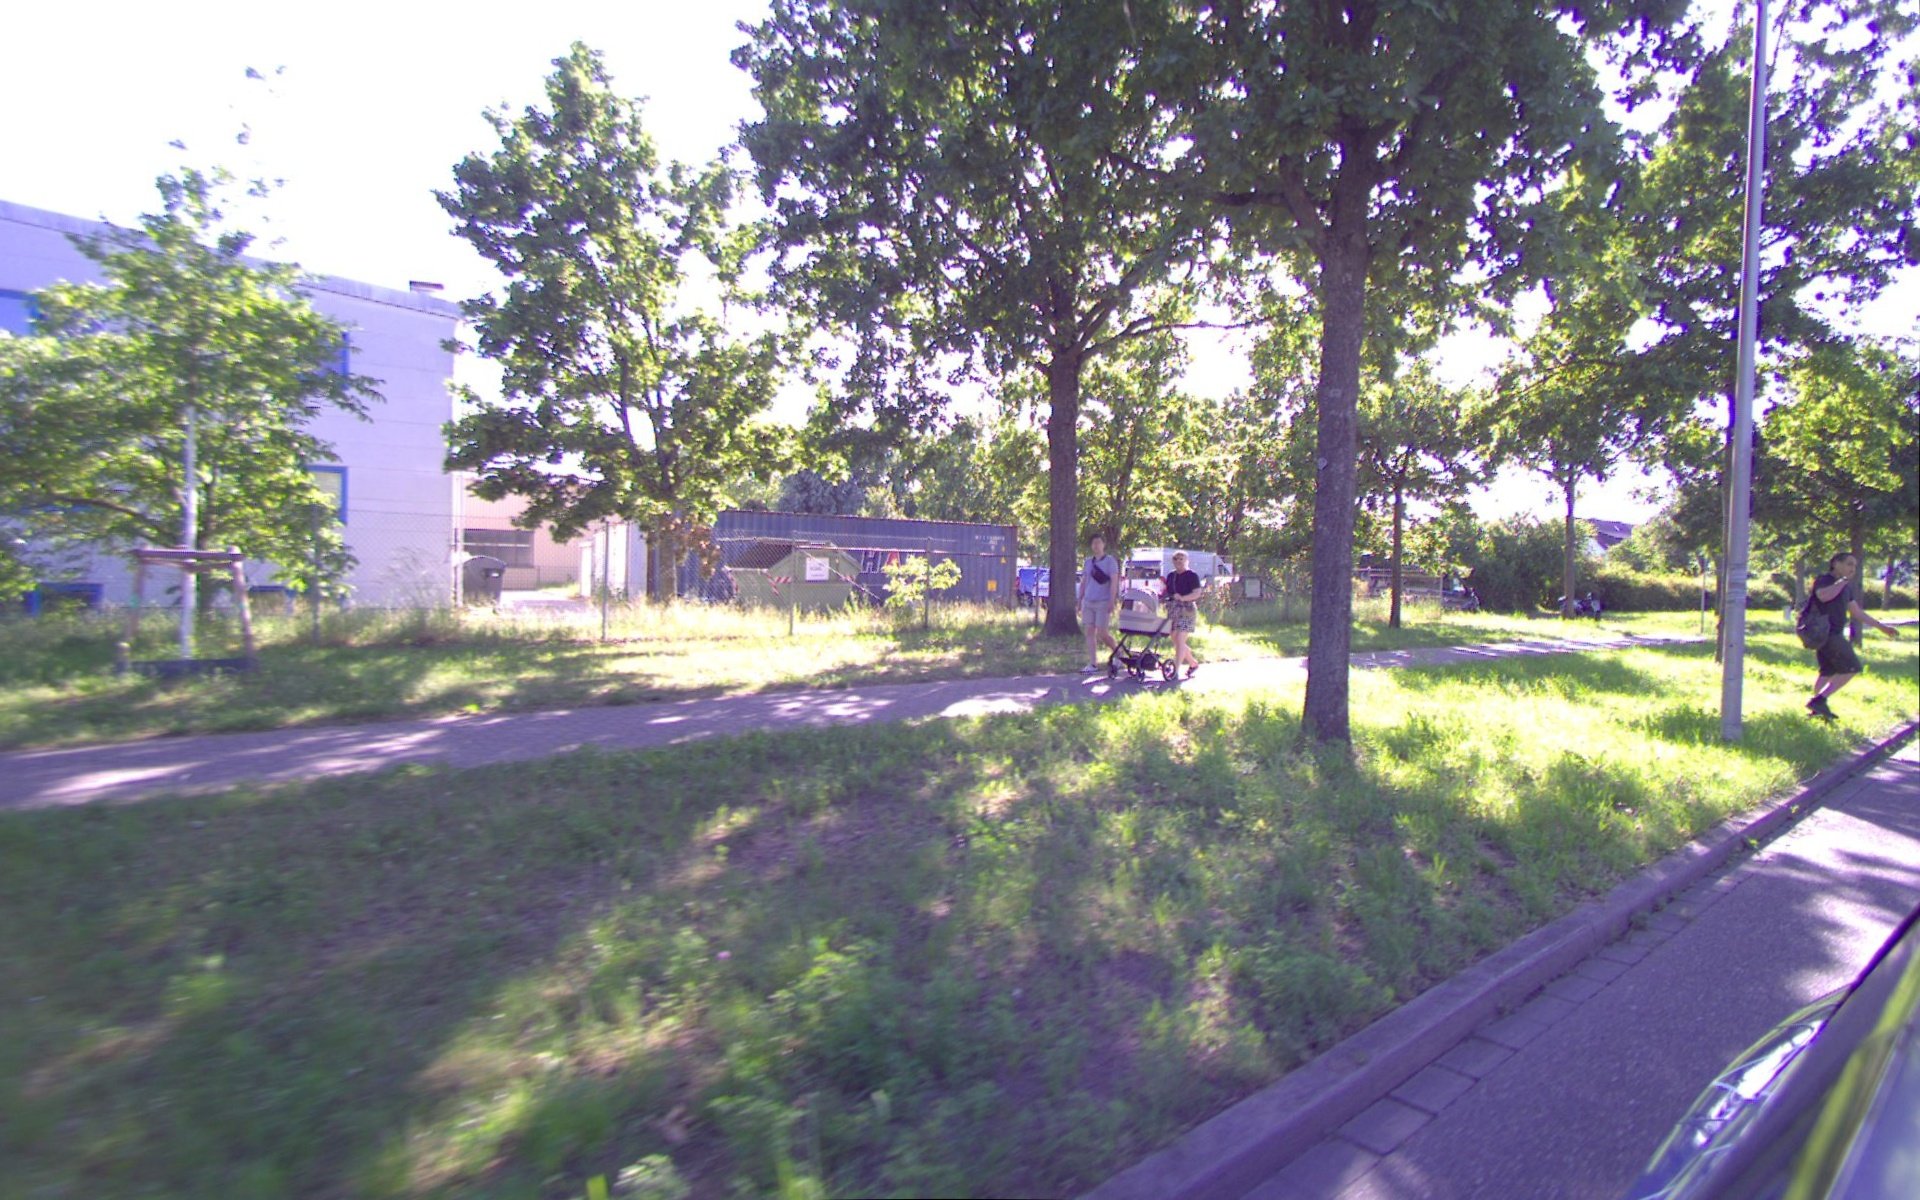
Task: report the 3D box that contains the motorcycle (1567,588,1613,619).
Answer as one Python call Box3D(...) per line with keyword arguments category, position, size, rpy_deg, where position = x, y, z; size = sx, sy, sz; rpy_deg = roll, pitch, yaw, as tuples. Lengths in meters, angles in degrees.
Box3D(category="motorcycle", position=(28.521, 0.136, 45.800), size=(2.359, 1.246, 0.666), rpy_deg=(-4, 4, -29))

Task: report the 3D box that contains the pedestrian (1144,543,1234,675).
Box3D(category="pedestrian", position=(2.949, 0.095, 13.025), size=(0.852, 1.623, 0.727), rpy_deg=(1, 2, -41))

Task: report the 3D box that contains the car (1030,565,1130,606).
Box3D(category="car", position=(5.305, -0.658, 44.742), size=(3.915, 1.660, 1.845), rpy_deg=(1, 2, -19))

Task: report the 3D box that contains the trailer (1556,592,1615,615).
Box3D(category="trailer", position=(29.458, 0.166, 47.664), size=(2.013, 0.878, 1.586), rpy_deg=(-4, 4, -28))

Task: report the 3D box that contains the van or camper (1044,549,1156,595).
Box3D(category="van or camper", position=(8.471, -1.668, 61.096), size=(6.640, 2.606, 2.191), rpy_deg=(1, 2, -28))

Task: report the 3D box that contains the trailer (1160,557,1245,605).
Box3D(category="trailer", position=(12.572, -0.985, 52.521), size=(3.712, 2.336, 2.200), rpy_deg=(1, 2, -28))

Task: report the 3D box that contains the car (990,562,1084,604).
Box3D(category="car", position=(3.595, -0.798, 47.320), size=(3.922, 1.845, 2.002), rpy_deg=(1, 2, -33))

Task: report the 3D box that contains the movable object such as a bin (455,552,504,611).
Box3D(category="movable object such as a bin", position=(-12.055, -0.475, 25.410), size=(1.037, 1.424, 1.191), rpy_deg=(1, 1, -24))

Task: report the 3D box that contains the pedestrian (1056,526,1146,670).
Box3D(category="pedestrian", position=(1.822, -0.039, 13.058), size=(0.852, 1.777, 0.727), rpy_deg=(1, 1, -41))

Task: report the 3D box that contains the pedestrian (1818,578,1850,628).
Box3D(category="pedestrian", position=(32.636, 0.111, 37.776), size=(0.852, 1.834, 0.727), rpy_deg=(0, 2, -41))

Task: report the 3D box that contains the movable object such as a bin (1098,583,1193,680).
Box3D(category="movable object such as a bin", position=(2.289, 0.369, 12.478), size=(0.852, 1.094, 0.727), rpy_deg=(1, 3, -41))

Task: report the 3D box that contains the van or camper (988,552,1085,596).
Box3D(category="van or camper", position=(4.896, -1.643, 64.538), size=(5.798, 2.606, 2.191), rpy_deg=(1, 2, -28))

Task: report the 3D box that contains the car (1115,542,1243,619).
Box3D(category="car", position=(8.214, -0.719, 37.773), size=(4.765, 2.676, 2.165), rpy_deg=(1, 2, -40))

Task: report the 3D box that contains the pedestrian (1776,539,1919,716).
Box3D(category="pedestrian", position=(9.144, 0.250, 10.212), size=(1.086, 1.672, 1.016), rpy_deg=(2, 1, 21))

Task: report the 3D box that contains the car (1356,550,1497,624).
Box3D(category="car", position=(19.116, -0.487, 41.394), size=(5.849, 2.599, 2.094), rpy_deg=(4, -2, -28))

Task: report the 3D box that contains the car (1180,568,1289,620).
Box3D(category="car", position=(9.675, -0.209, 35.556), size=(3.533, 1.685, 2.010), rpy_deg=(0, 2, -40))
